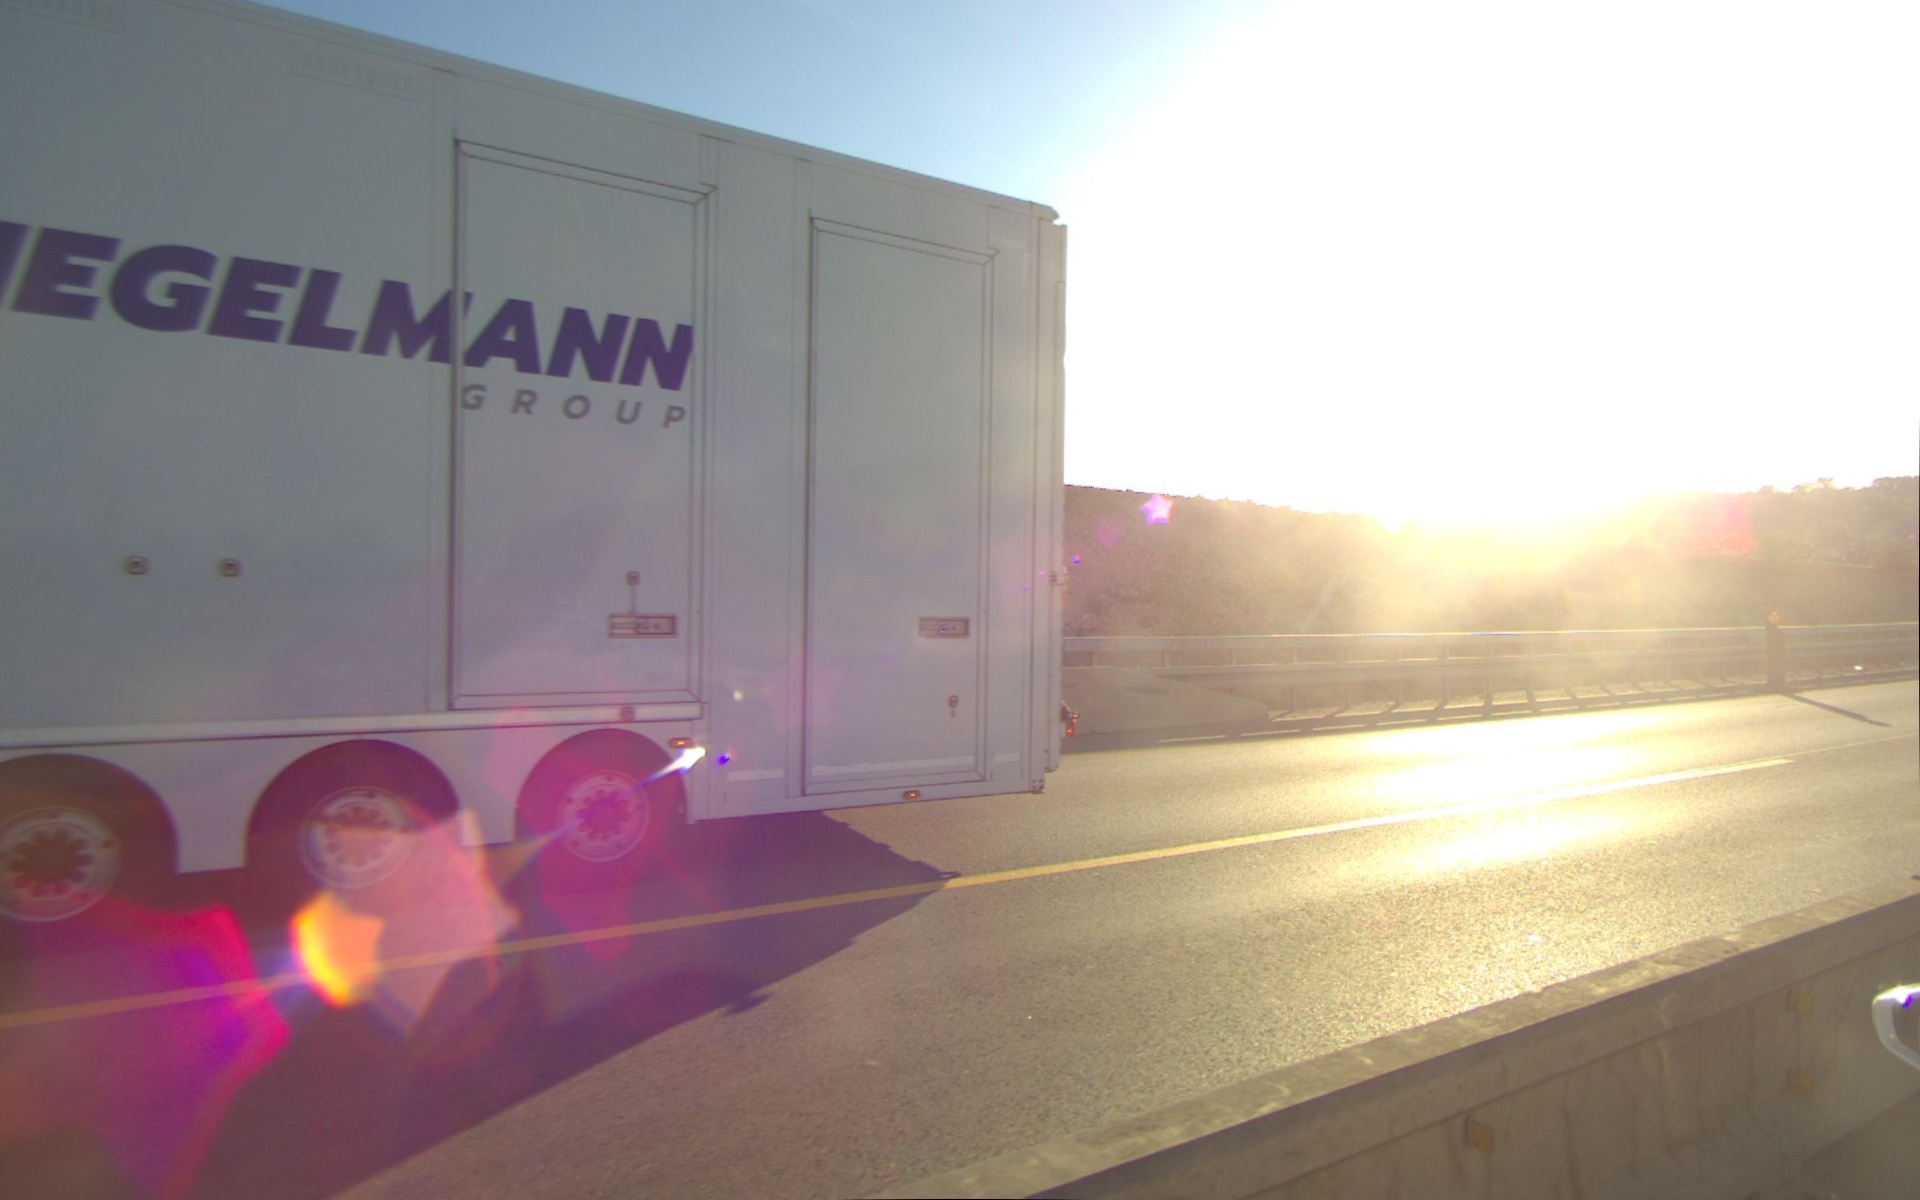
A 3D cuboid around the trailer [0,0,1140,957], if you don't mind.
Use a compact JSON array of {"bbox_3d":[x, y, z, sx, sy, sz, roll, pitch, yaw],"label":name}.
[{"bbox_3d":[-5.493,-0.800,4.360,13.764,4.270,2.520,2,1,-29],"label":"trailer"}]
